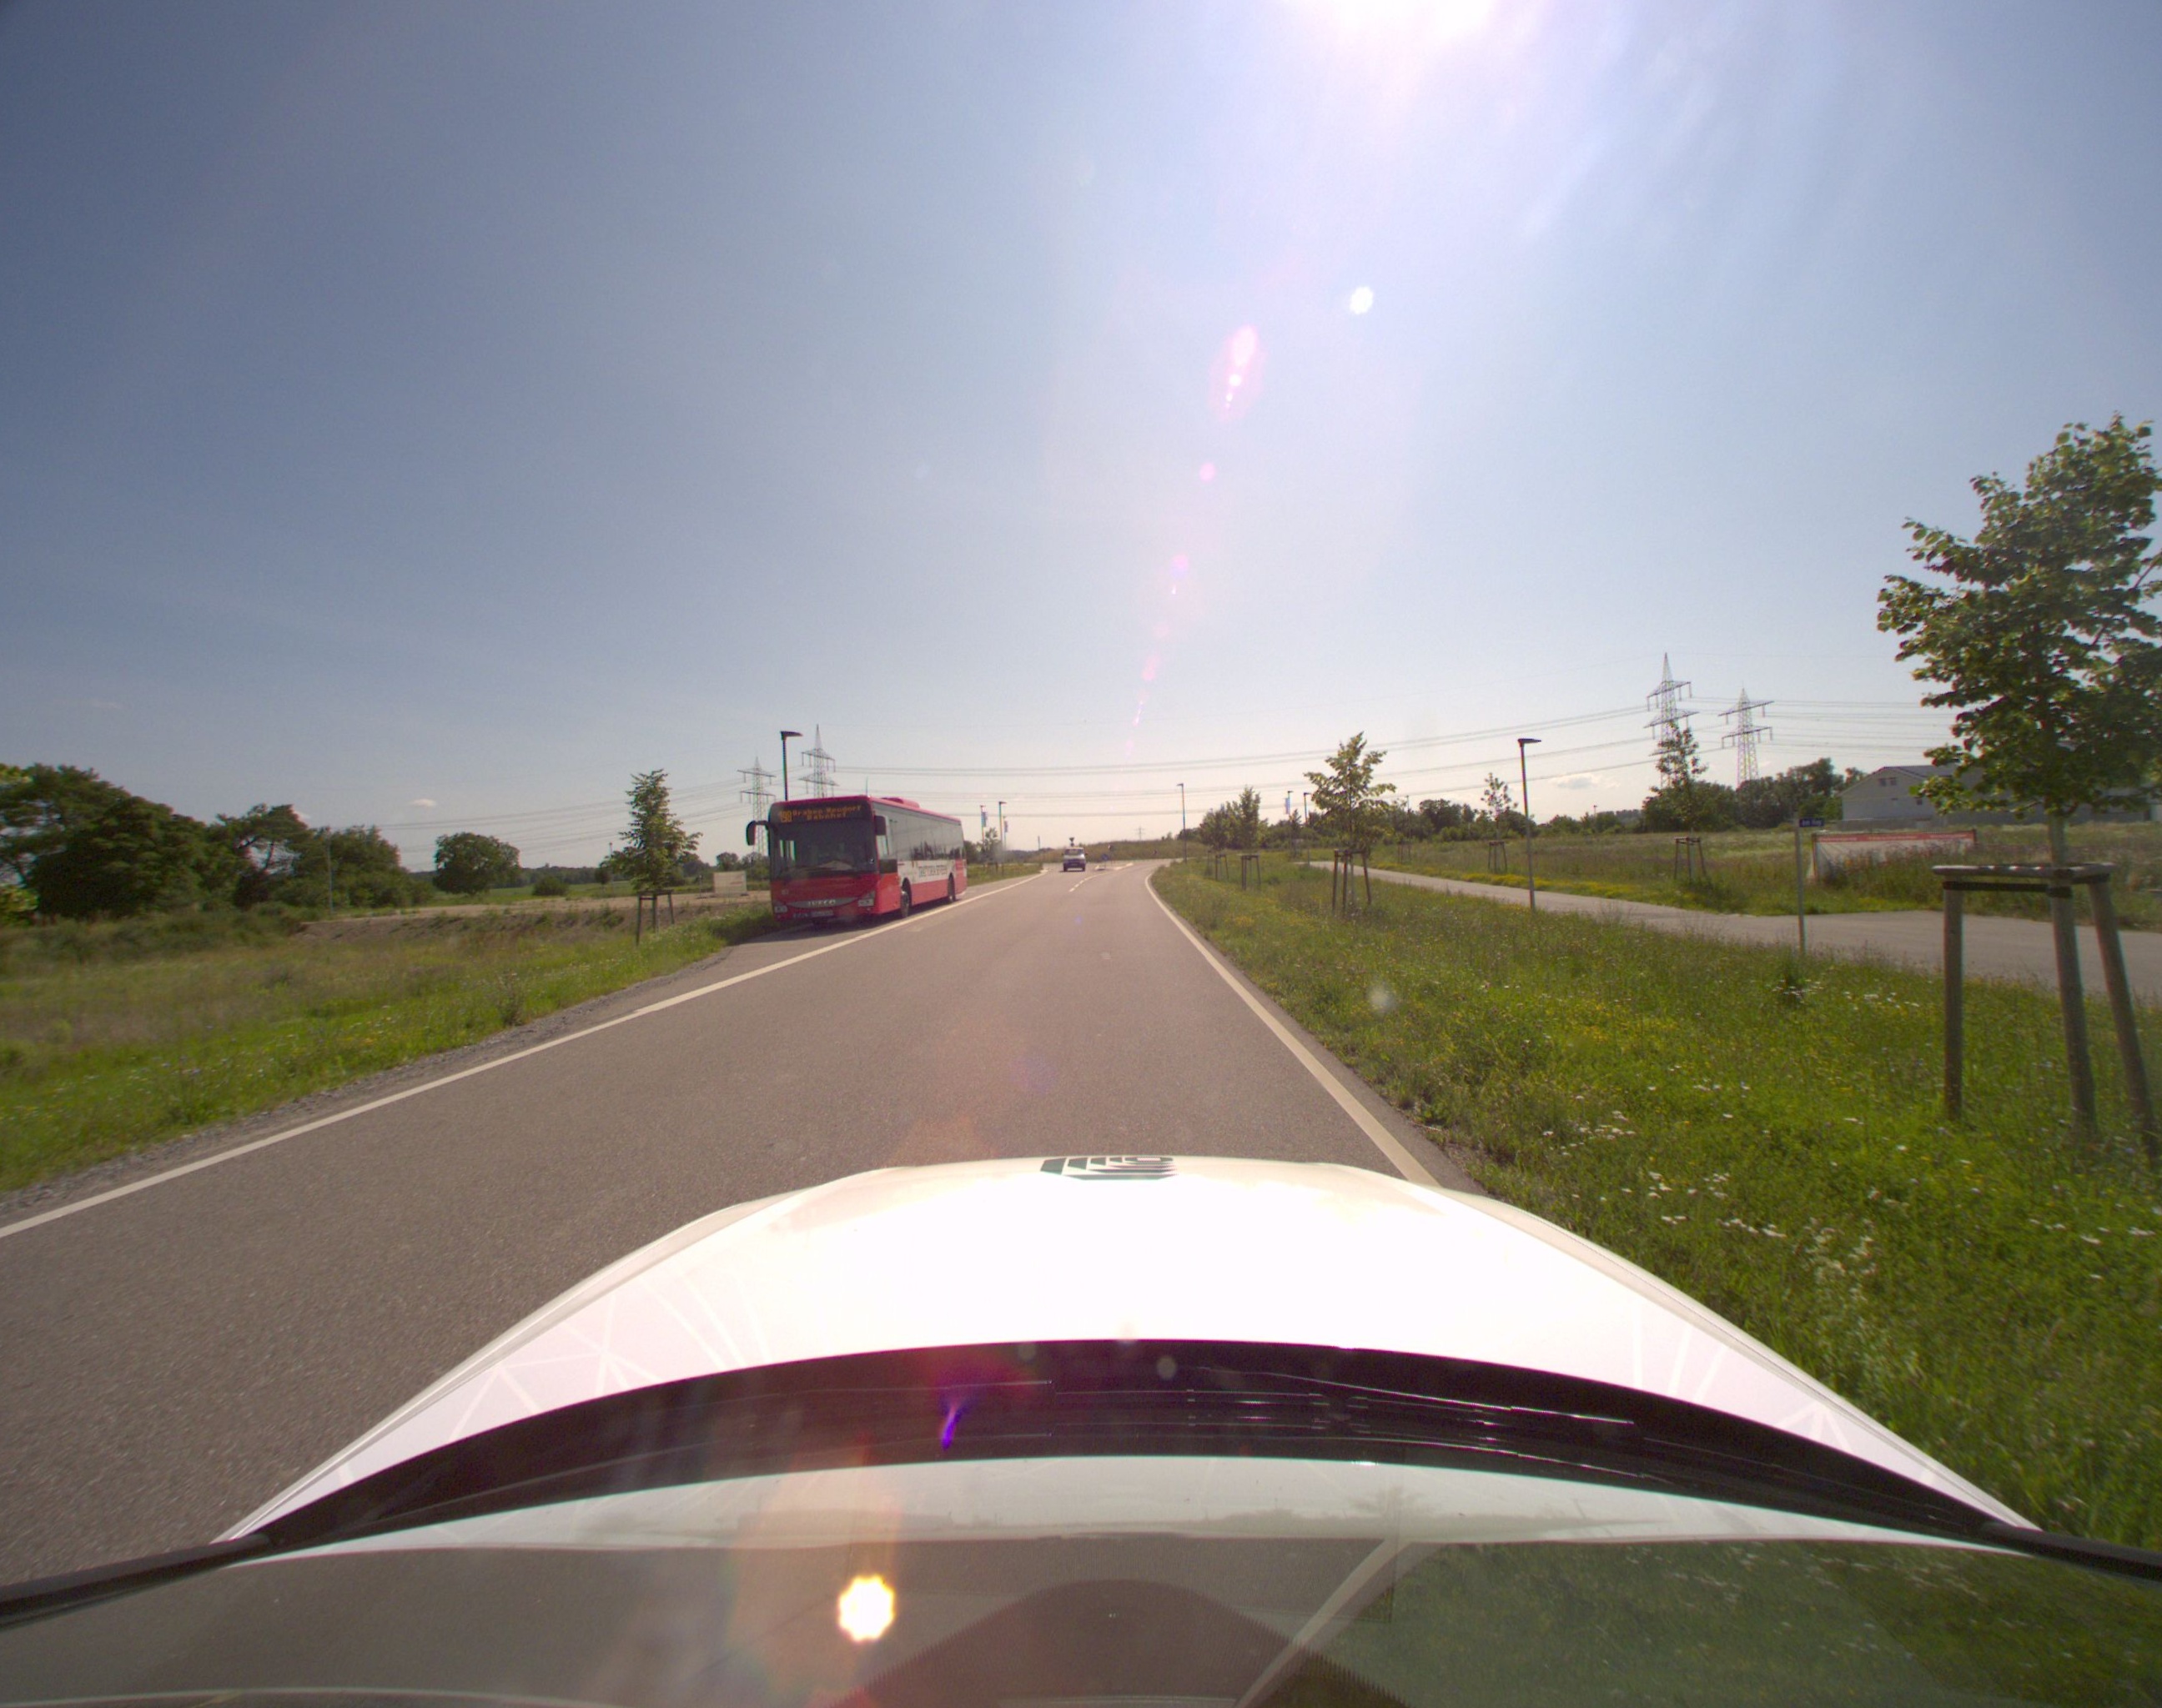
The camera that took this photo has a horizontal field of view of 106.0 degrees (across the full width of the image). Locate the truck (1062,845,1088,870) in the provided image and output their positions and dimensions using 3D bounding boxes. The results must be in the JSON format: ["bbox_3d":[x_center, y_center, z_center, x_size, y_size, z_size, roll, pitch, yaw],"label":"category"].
[{"bbox_3d":[-0.565,0.285,68.375,1.947,1.985,5.639,-1,0,-2],"label":"truck"}]

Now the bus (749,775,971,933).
[{"bbox_3d":[-5.684,0.009,24.026,2.784,3.287,12.231,-4,0,1],"label":"bus"}]
